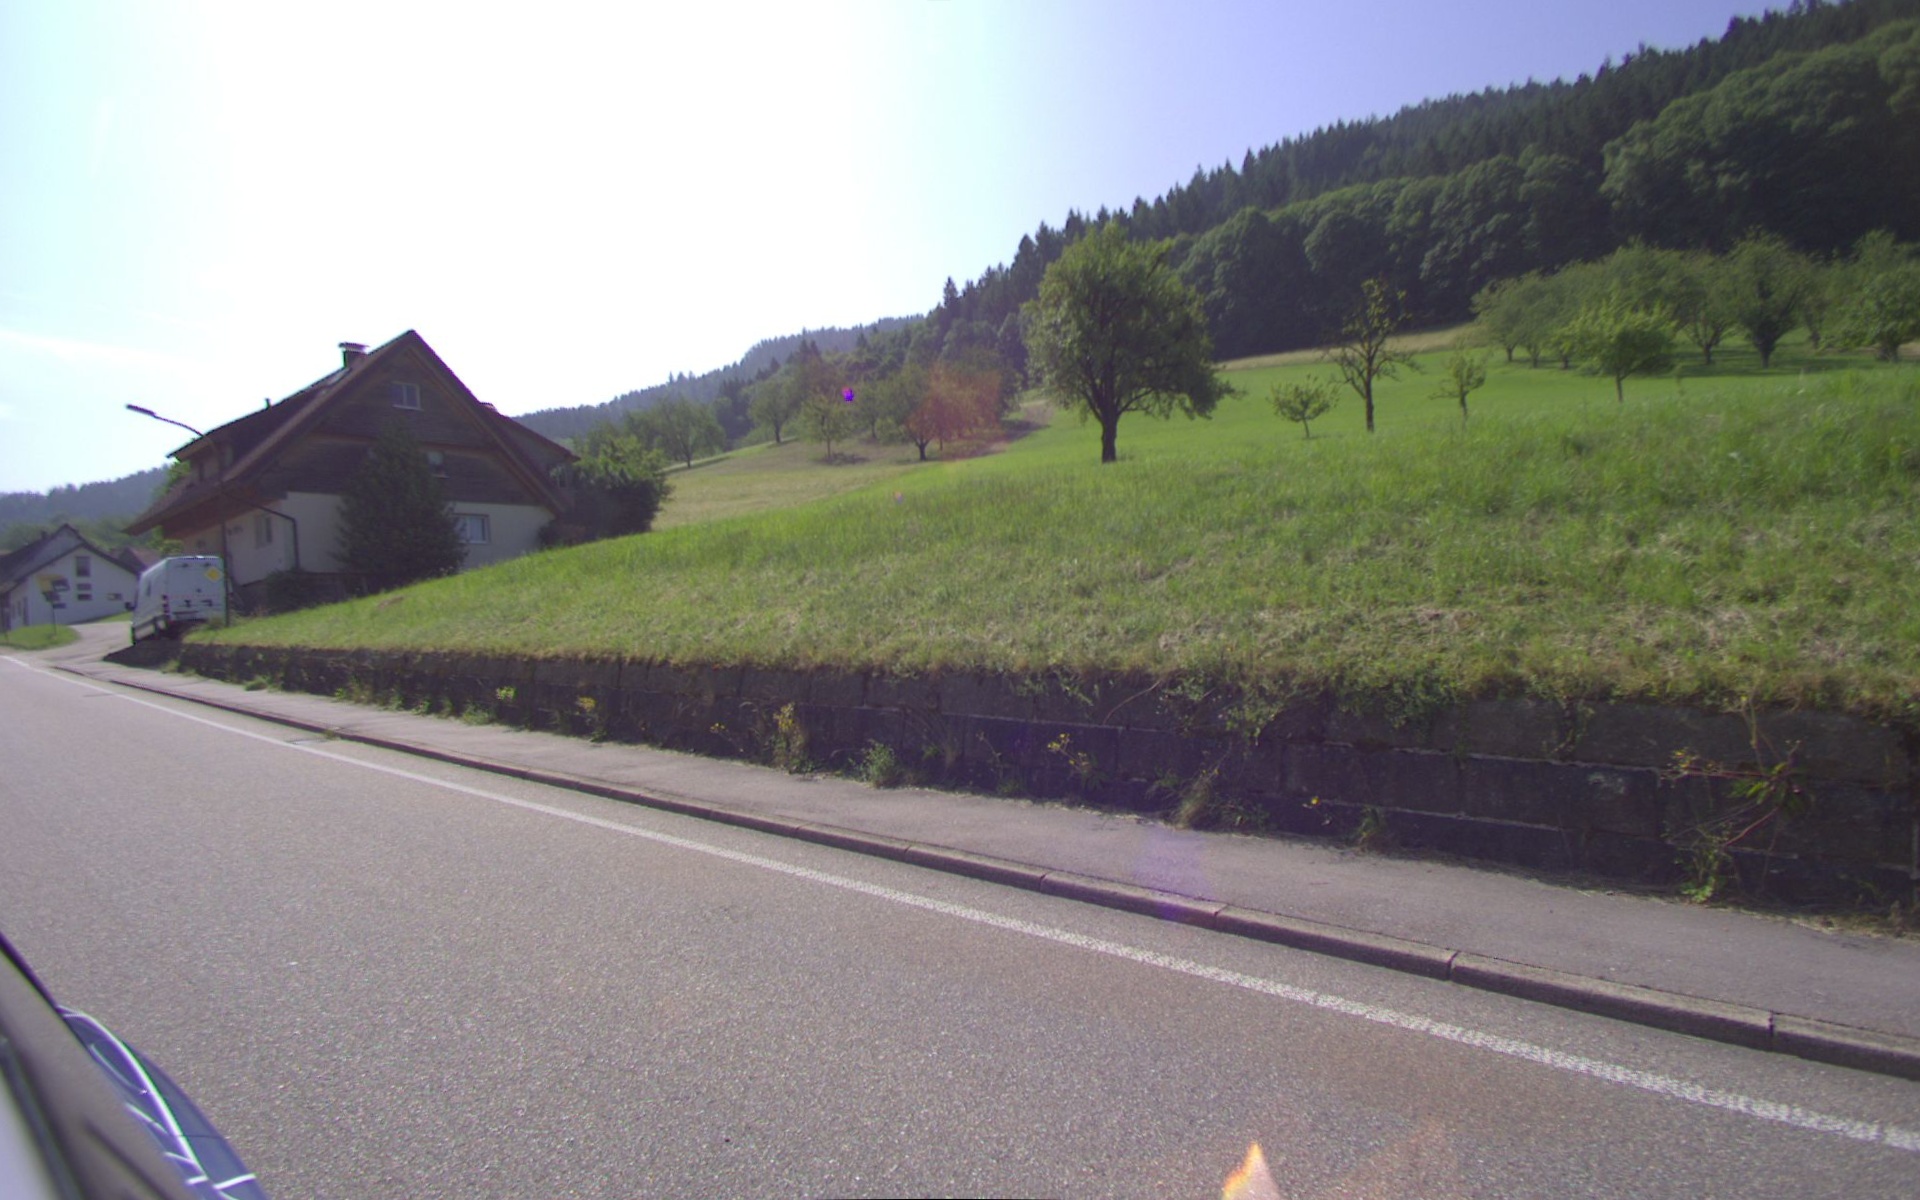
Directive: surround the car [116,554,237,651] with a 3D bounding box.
[{"bbox_3d":[-27.564,0.163,35.473,7.173,2.708,2.046,-6,-1,43],"label":"car"}]
